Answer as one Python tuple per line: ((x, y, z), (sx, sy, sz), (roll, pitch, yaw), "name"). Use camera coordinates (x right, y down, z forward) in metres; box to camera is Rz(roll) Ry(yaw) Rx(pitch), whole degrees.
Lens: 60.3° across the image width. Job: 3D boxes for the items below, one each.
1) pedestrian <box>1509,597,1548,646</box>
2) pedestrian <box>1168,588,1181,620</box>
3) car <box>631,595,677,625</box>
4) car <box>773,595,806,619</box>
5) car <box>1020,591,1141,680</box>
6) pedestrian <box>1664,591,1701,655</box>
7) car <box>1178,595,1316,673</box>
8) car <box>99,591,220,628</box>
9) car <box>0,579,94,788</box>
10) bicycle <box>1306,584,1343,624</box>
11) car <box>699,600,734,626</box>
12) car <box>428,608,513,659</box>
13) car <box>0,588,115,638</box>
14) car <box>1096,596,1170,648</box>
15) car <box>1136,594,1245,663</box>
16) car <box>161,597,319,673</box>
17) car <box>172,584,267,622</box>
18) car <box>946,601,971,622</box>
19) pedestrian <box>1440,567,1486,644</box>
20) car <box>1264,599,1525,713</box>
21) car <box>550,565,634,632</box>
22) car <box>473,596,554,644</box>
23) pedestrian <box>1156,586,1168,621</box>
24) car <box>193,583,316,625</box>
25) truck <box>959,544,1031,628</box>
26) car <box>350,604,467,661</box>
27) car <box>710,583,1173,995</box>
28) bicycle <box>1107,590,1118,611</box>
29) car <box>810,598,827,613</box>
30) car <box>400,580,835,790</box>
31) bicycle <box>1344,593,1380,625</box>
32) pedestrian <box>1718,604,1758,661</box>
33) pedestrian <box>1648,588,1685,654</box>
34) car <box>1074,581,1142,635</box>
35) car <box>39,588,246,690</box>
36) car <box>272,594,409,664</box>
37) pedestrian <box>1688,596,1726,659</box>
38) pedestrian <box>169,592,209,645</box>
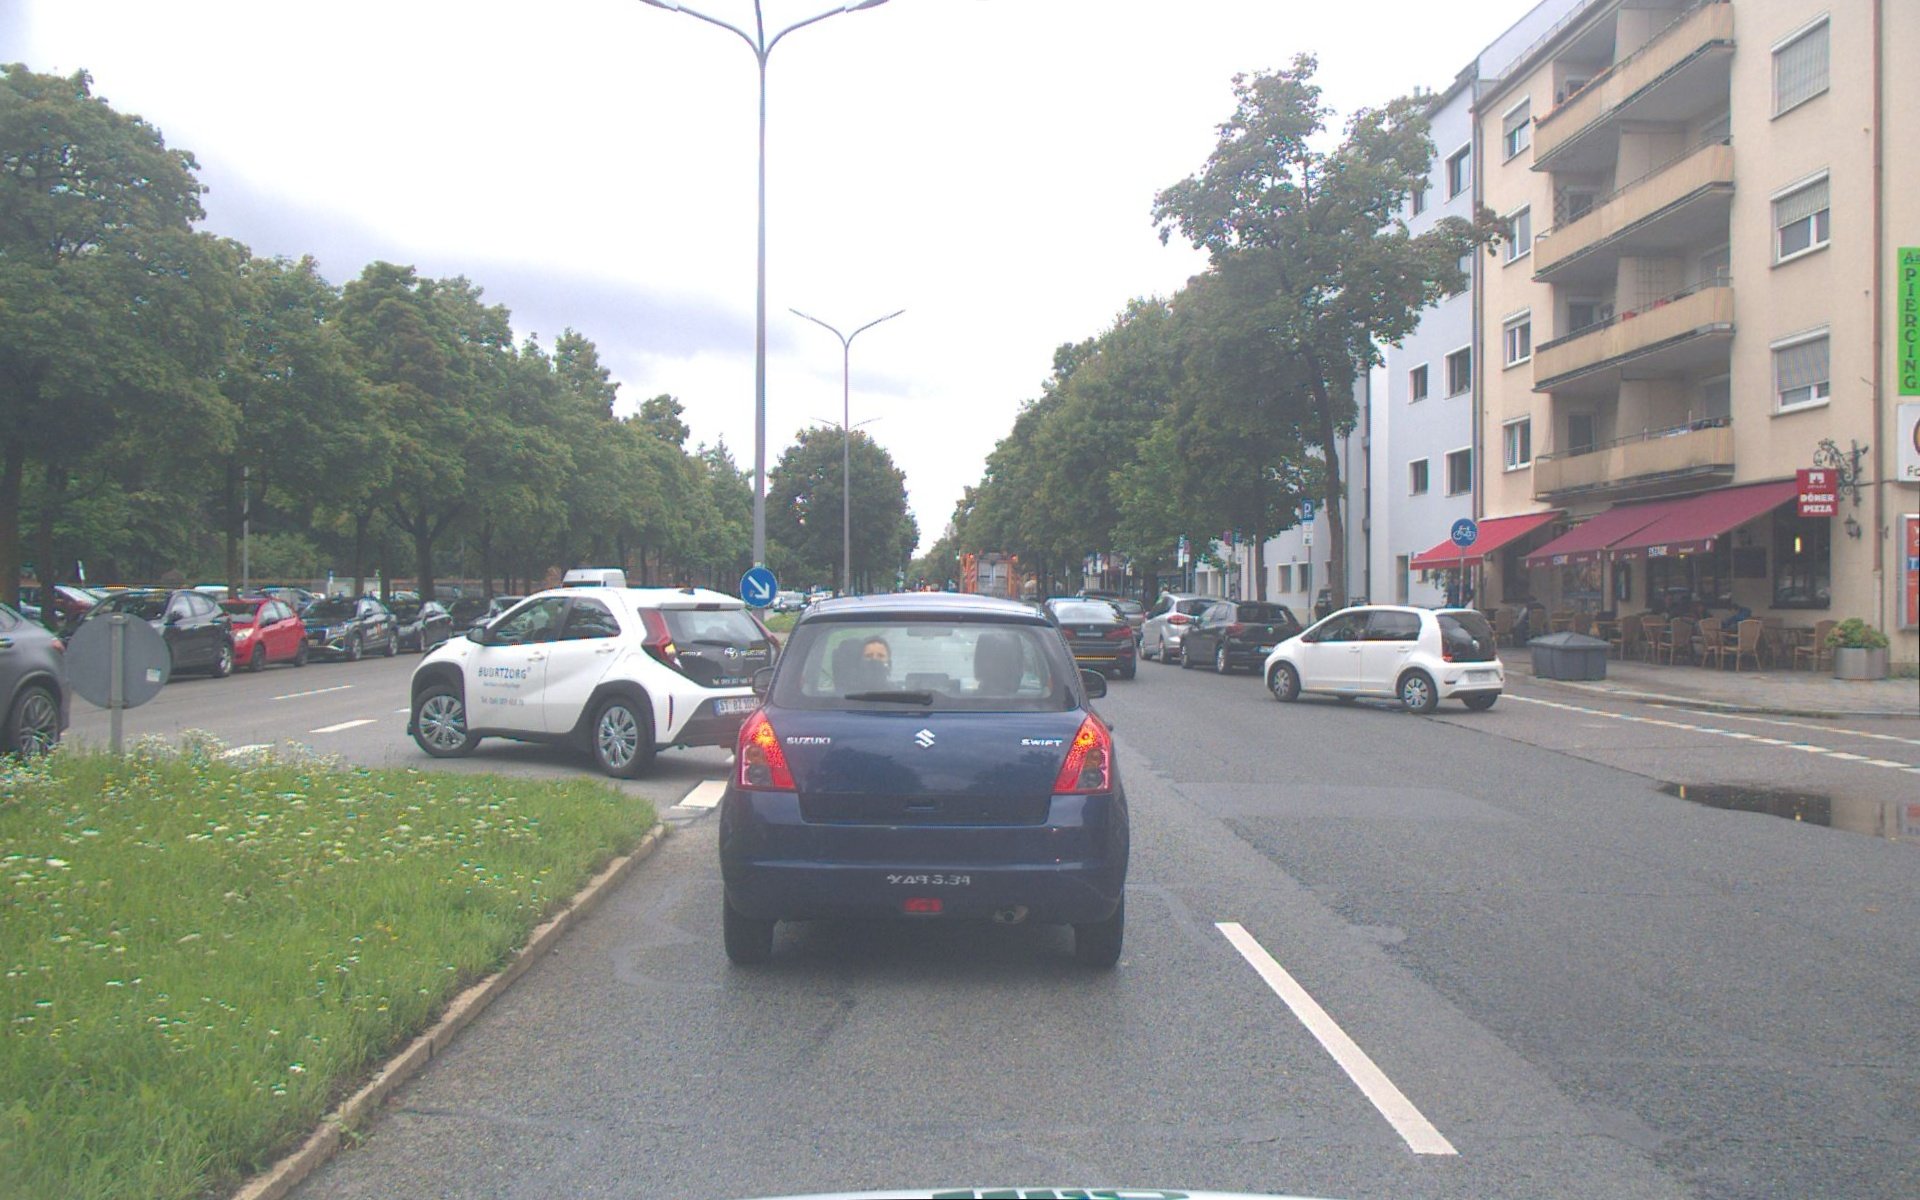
((13.988, 0.523, 40.717), (0.728, 1.183, 0.646), (0, 0, -2), "pedestrian")
((11.021, 0.206, 85.110), (0.538, 1.658, 0.641), (-1, 0, -1), "pedestrian")
((-16.037, 0.543, 86.909), (1.820, 1.517, 4.140), (0, -1, -3), "car")
((-10.845, 0.411, 105.542), (1.779, 1.473, 4.780), (-1, 0, -2), "car")
((2.208, 0.611, 31.466), (1.785, 1.503, 4.689), (2, 0, -2), "car")
((14.760, 0.469, 33.797), (0.527, 1.290, 0.486), (0, 0, -3), "pedestrian")
((5.805, 0.649, 33.932), (1.794, 1.499, 3.883), (0, 0, -6), "car")
((-32.111, 0.355, 66.445), (3.911, 1.467, 1.997), (0, 0, -7), "car")
((-8.316, 0.660, 11.977), (1.784, 1.617, 4.500), (0, 1, -1), "car")
((13.452, 0.130, 61.059), (0.688, 1.432, 2.592), (-2, 0, -1), "bicycle")
((-15.880, 0.816, 108.034), (1.849, 1.564, 4.312), (-3, 0, -3), "car")
((-15.317, 1.013, 51.936), (1.786, 1.473, 3.995), (-1, 0, -6), "car")
((-28.220, 0.387, 50.409), (3.911, 1.467, 1.997), (0, 0, -7), "car")
((5.397, 0.669, 52.028), (1.793, 1.549, 3.769), (0, 0, -3), "car")
((5.426, 0.628, 39.453), (1.793, 1.549, 4.521), (0, 0, -3), "car")
((-15.182, 0.726, 35.084), (1.785, 1.505, 3.808), (0, -1, -3), "car")
((-41.319, 0.145, 92.351), (4.415, 2.070, 1.999), (0, 0, -2), "car")
((-0.125, 0.837, 125.784), (1.792, 1.549, 3.770), (0, 0, -1), "car")
((12.886, 0.140, 42.354), (0.854, 1.963, 0.757), (0, 0, -18), "pedestrian")
((6.255, 0.748, 24.054), (1.675, 1.516, 3.388), (0, 0, -38), "car")
((-15.750, -0.085, 71.250), (2.096, 2.690, 7.104), (-1, 1, -1), "car")
((-15.431, 0.689, 57.325), (1.785, 1.554, 4.296), (-2, -1, -3), "car")
((10.383, 0.177, 85.030), (0.489, 1.763, 0.732), (-1, 0, -1), "pedestrian")
((-27.091, 0.151, 63.587), (3.905, 1.598, 1.814), (0, 0, 0), "car")
((1.518, -0.643, 78.247), (2.979, 3.619, 13.672), (0, 0, -1), "truck")
((-15.136, 0.855, 45.602), (1.784, 1.434, 4.000), (-2, 0, 1), "car")
((-0.087, 0.697, 8.161), (1.717, 1.531, 3.999), (0, 0, -1), "car")
((10.900, 0.031, 118.058), (0.568, 1.489, 1.688), (0, 0, -1), "bicycle")
((-15.592, 0.598, 181.990), (1.726, 1.564, 4.311), (-3, 0, -4), "car")
((-3.028, 0.627, 14.353), (3.650, 1.580, 1.819), (0, 0, 39), "car")
((13.763, 0.301, 56.717), (0.609, 1.064, 2.195), (-4, 0, -1), "bicycle")
((14.689, 0.610, 31.246), (0.527, 1.072, 0.487), (0, 0, -1), "pedestrian")
((14.845, 0.438, 34.737), (0.527, 1.362, 0.552), (0, 0, -3), "pedestrian")
((5.094, 0.257, 57.525), (1.793, 1.776, 4.506), (0, 0, -3), "car")
((-14.761, 0.693, 30.138), (1.785, 1.729, 4.237), (0, -1, -3), "car")
((-14.996, 0.664, 40.278), (1.784, 1.627, 4.112), (0, 0, 0), "car")
((14.816, 0.536, 32.811), (0.527, 1.235, 0.487), (0, 0, -1), "pedestrian")
((-22.499, 0.528, 48.287), (0.778, 1.521, 0.856), (0, 0, -1), "pedestrian")
